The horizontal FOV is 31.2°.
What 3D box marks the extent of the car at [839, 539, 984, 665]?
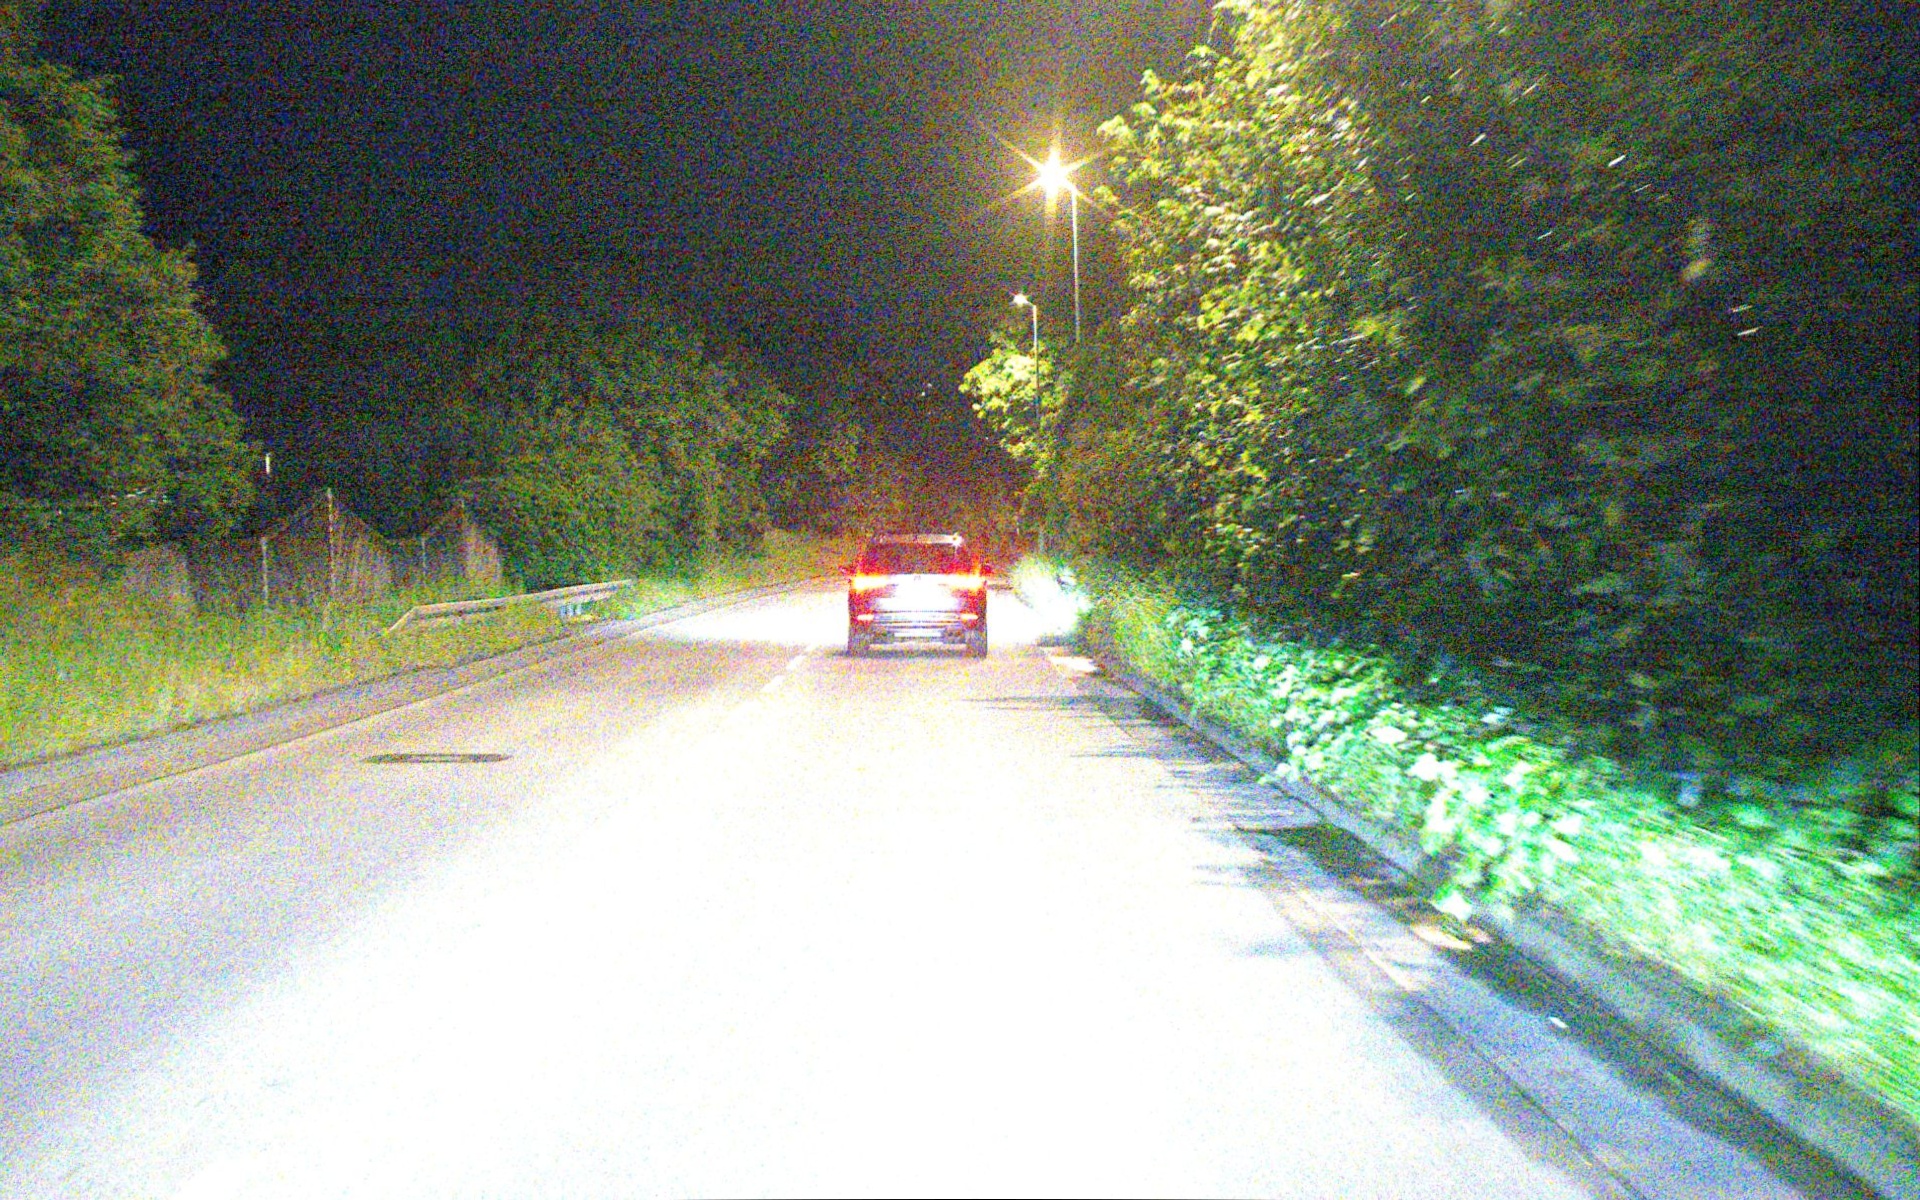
[{"bbox_3d":[-0.642,-0.011,45.311,1.814,1.568,3.944,-1,1,-1],"label":"car"}]
